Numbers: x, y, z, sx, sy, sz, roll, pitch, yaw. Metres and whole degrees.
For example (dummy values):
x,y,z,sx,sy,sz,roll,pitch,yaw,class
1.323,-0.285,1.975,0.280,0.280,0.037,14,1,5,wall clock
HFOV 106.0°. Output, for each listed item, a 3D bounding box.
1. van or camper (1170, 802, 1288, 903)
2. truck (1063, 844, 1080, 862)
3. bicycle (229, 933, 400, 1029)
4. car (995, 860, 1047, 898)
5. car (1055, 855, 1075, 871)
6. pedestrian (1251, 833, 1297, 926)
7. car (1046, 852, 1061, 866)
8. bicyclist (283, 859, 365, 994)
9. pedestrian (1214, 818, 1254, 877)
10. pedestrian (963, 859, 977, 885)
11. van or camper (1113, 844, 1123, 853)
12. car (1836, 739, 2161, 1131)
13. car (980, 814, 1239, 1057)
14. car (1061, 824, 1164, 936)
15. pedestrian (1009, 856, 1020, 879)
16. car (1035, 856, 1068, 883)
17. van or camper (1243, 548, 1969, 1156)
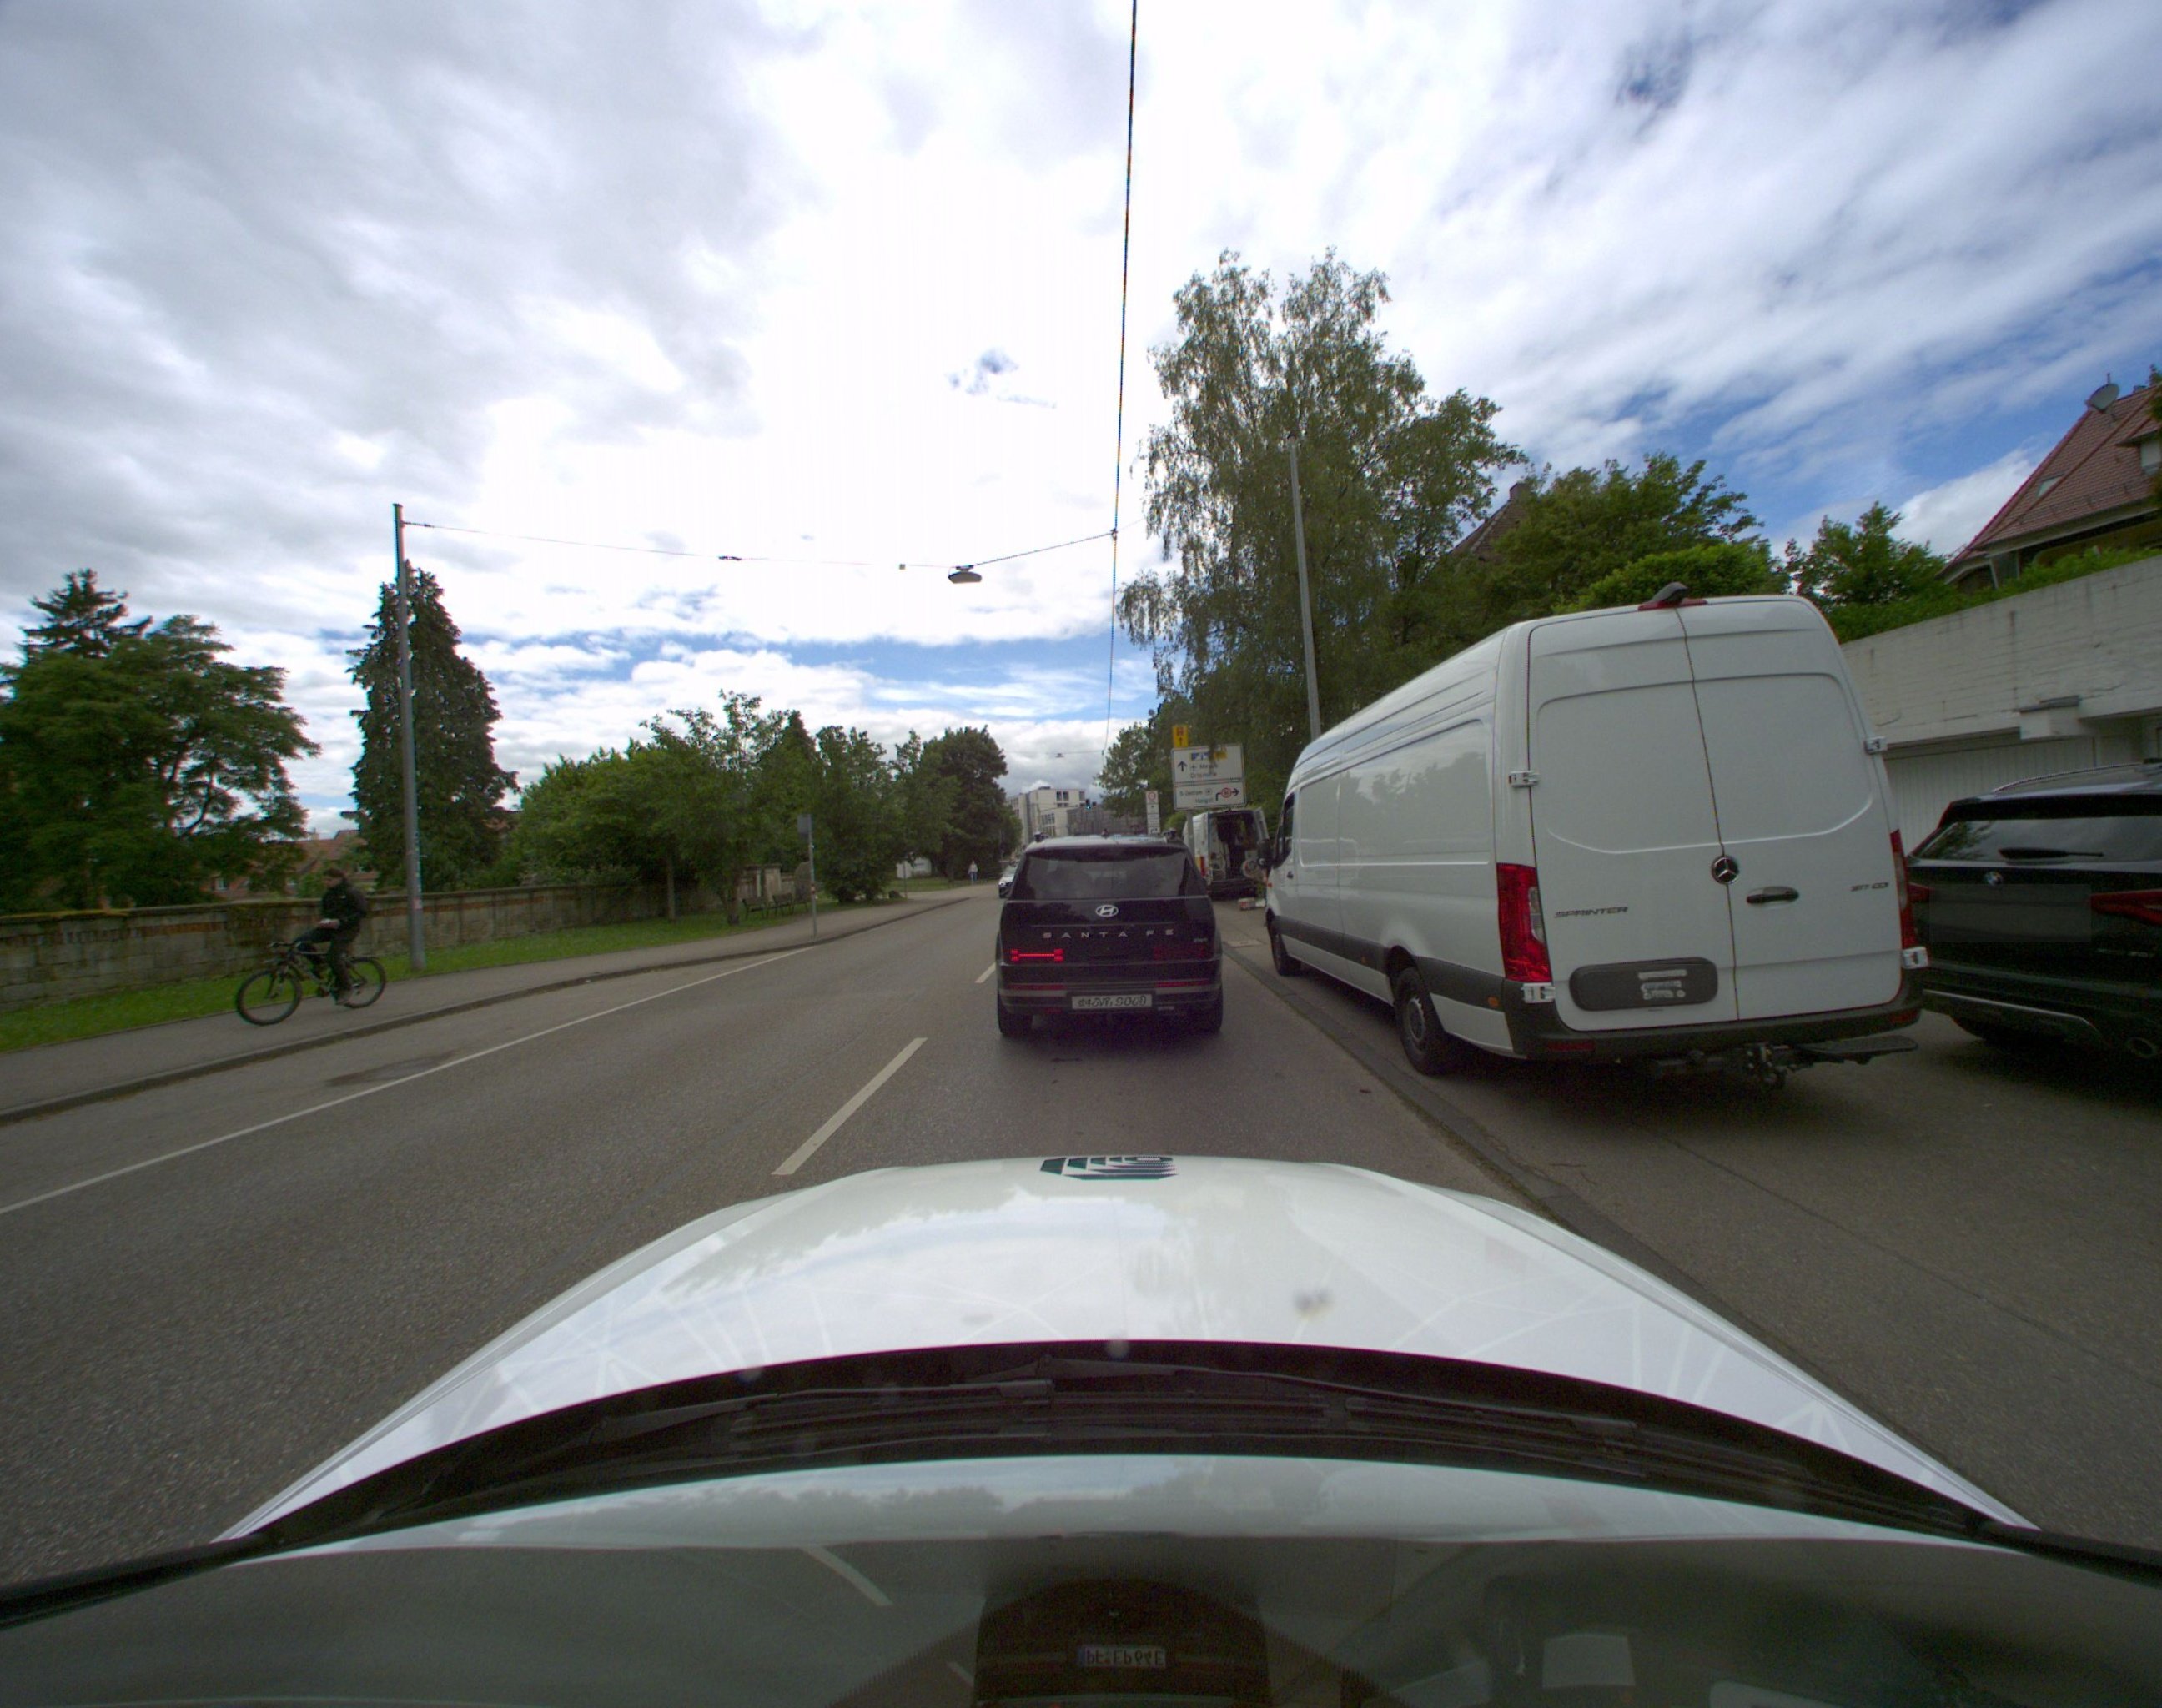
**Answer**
x,y,z,sx,sy,sz,roll,pitch,yaw,class
4.351,0.017,25.303,2.332,2.494,6.603,-6,-1,1,van or camper
-2.177,-0.136,186.036,3.102,3.859,9.606,-3,0,-4,truck
-9.716,1.574,10.423,0.493,0.964,1.749,0,-1,2,bicycle
-2.623,1.068,36.451,1.750,1.403,4.416,-5,-1,2,car
-1.742,0.980,88.312,1.808,1.419,4.830,-6,-1,1,car
3.648,0.482,15.478,0.784,1.721,0.754,0,-1,9,pedestrian
-4.963,0.844,144.549,2.328,2.315,4.950,-3,0,-4,car
-9.715,0.909,10.468,0.486,1.684,0.588,0,-1,1,bicyclist
4.462,-0.202,23.732,0.791,1.643,0.743,-5,-2,33,pedestrian
-7.756,1.238,56.791,0.764,1.748,0.904,-2,-1,0,pedestrian
7.755,-1.180,172.575,1.791,1.999,3.821,0,-1,-2,van or camper
6.794,0.212,4.040,4.365,1.675,1.696,-4,-1,2,car
0.268,0.616,7.983,1.890,1.776,3.995,0,-1,2,car
0.641,0.498,17.016,1.890,2.042,3.995,0,-1,2,car
-6.012,1.219,74.079,0.826,2.014,1.048,0,-1,4,pedestrian
-1.813,0.973,51.732,1.695,1.483,4.001,-5,-1,2,car
3.067,0.015,7.046,1.984,2.625,6.546,-6,-1,2,van or camper
